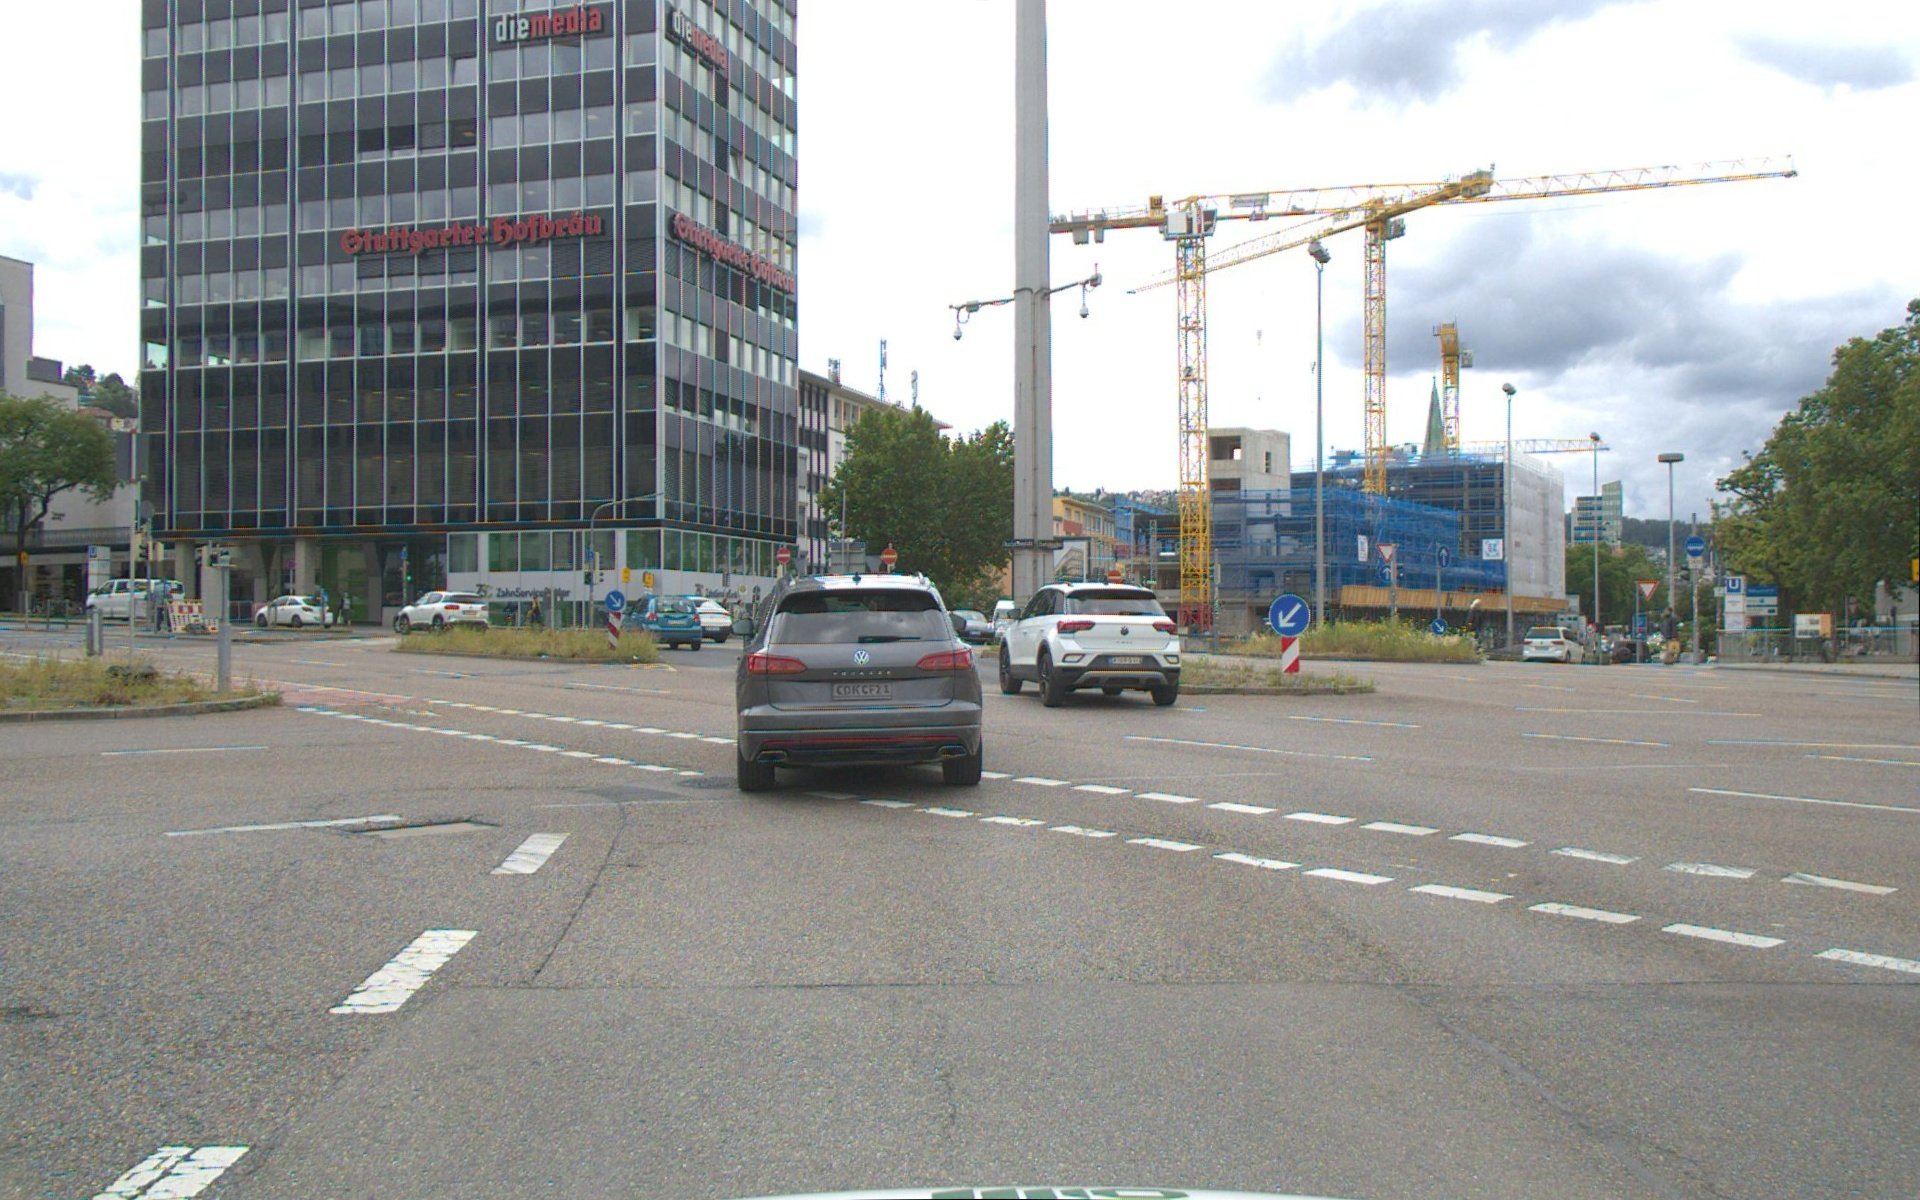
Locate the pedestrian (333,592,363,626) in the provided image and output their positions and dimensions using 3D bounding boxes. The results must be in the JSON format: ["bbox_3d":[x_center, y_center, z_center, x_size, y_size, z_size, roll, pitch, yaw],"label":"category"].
[{"bbox_3d":[-30.328,0.438,81.961,0.939,1.662,1.067,0,0,16],"label":"pedestrian"}]

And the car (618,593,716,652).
[{"bbox_3d":[-8.187,0.596,45.994,1.809,1.544,3.737,0,0,-25],"label":"car"}]

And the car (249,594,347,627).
[{"bbox_3d":[-30.002,0.466,74.923,4.241,1.443,2.058,1,0,32],"label":"car"}]

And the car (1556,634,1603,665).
[{"bbox_3d":[36.656,2.914,97.883,1.957,1.663,3.992,0,0,31],"label":"car"}]

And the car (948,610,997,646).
[{"bbox_3d":[0.448,1.039,62.703,1.637,1.286,4.055,0,0,-3],"label":"car"}]

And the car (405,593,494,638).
[{"bbox_3d":[-19.028,0.547,61.585,1.822,1.594,3.709,0,0,-42],"label":"car"}]

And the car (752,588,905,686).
[{"bbox_3d":[-2.075,0.601,27.225,1.795,1.420,4.149,2,-1,5],"label":"car"}]

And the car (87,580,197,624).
[{"bbox_3d":[-37.058,0.082,74.930,4.757,1.907,1.837,0,0,24],"label":"car"}]

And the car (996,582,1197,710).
[{"bbox_3d":[1.732,0.555,22.322,1.765,1.572,3.926,0,0,-10],"label":"car"}]

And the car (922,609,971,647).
[{"bbox_3d":[-0.606,1.242,72.179,1.953,1.531,5.037,1,-1,-2],"label":"car"}]

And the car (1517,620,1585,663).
[{"bbox_3d":[24.528,1.718,68.555,1.840,1.630,3.989,1,-3,32],"label":"car"}]

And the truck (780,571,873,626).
[{"bbox_3d":[-8.184,-0.054,102.343,2.290,3.118,8.198,0,-2,22],"label":"truck"}]

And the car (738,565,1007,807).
[{"bbox_3d":[-0.882,0.603,14.010,1.933,1.725,4.218,0,0,-7],"label":"car"}]

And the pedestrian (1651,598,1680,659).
[{"bbox_3d":[21.647,0.864,50.740,0.736,1.820,0.826,0,2,29],"label":"pedestrian"}]

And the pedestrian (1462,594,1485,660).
[{"bbox_3d":[15.319,0.804,49.344,0.544,1.928,0.639,-1,1,11],"label":"pedestrian"}]

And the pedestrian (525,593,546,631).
[{"bbox_3d":[-19.771,0.546,77.104,0.782,1.727,0.548,0,1,18],"label":"pedestrian"}]

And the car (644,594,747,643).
[{"bbox_3d":[-8.727,0.586,54.453,1.819,1.544,3.716,0,0,-38],"label":"car"}]

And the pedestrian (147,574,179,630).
[{"bbox_3d":[-26.063,0.054,54.073,0.619,1.822,0.717,0,0,22],"label":"pedestrian"}]

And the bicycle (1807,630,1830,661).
[{"bbox_3d":[30.579,1.613,58.927,0.608,1.105,1.768,0,-1,31],"label":"bicycle"}]

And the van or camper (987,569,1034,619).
[{"bbox_3d":[2.727,-0.332,87.598,2.095,2.520,6.165,0,0,5],"label":"van or camper"}]
